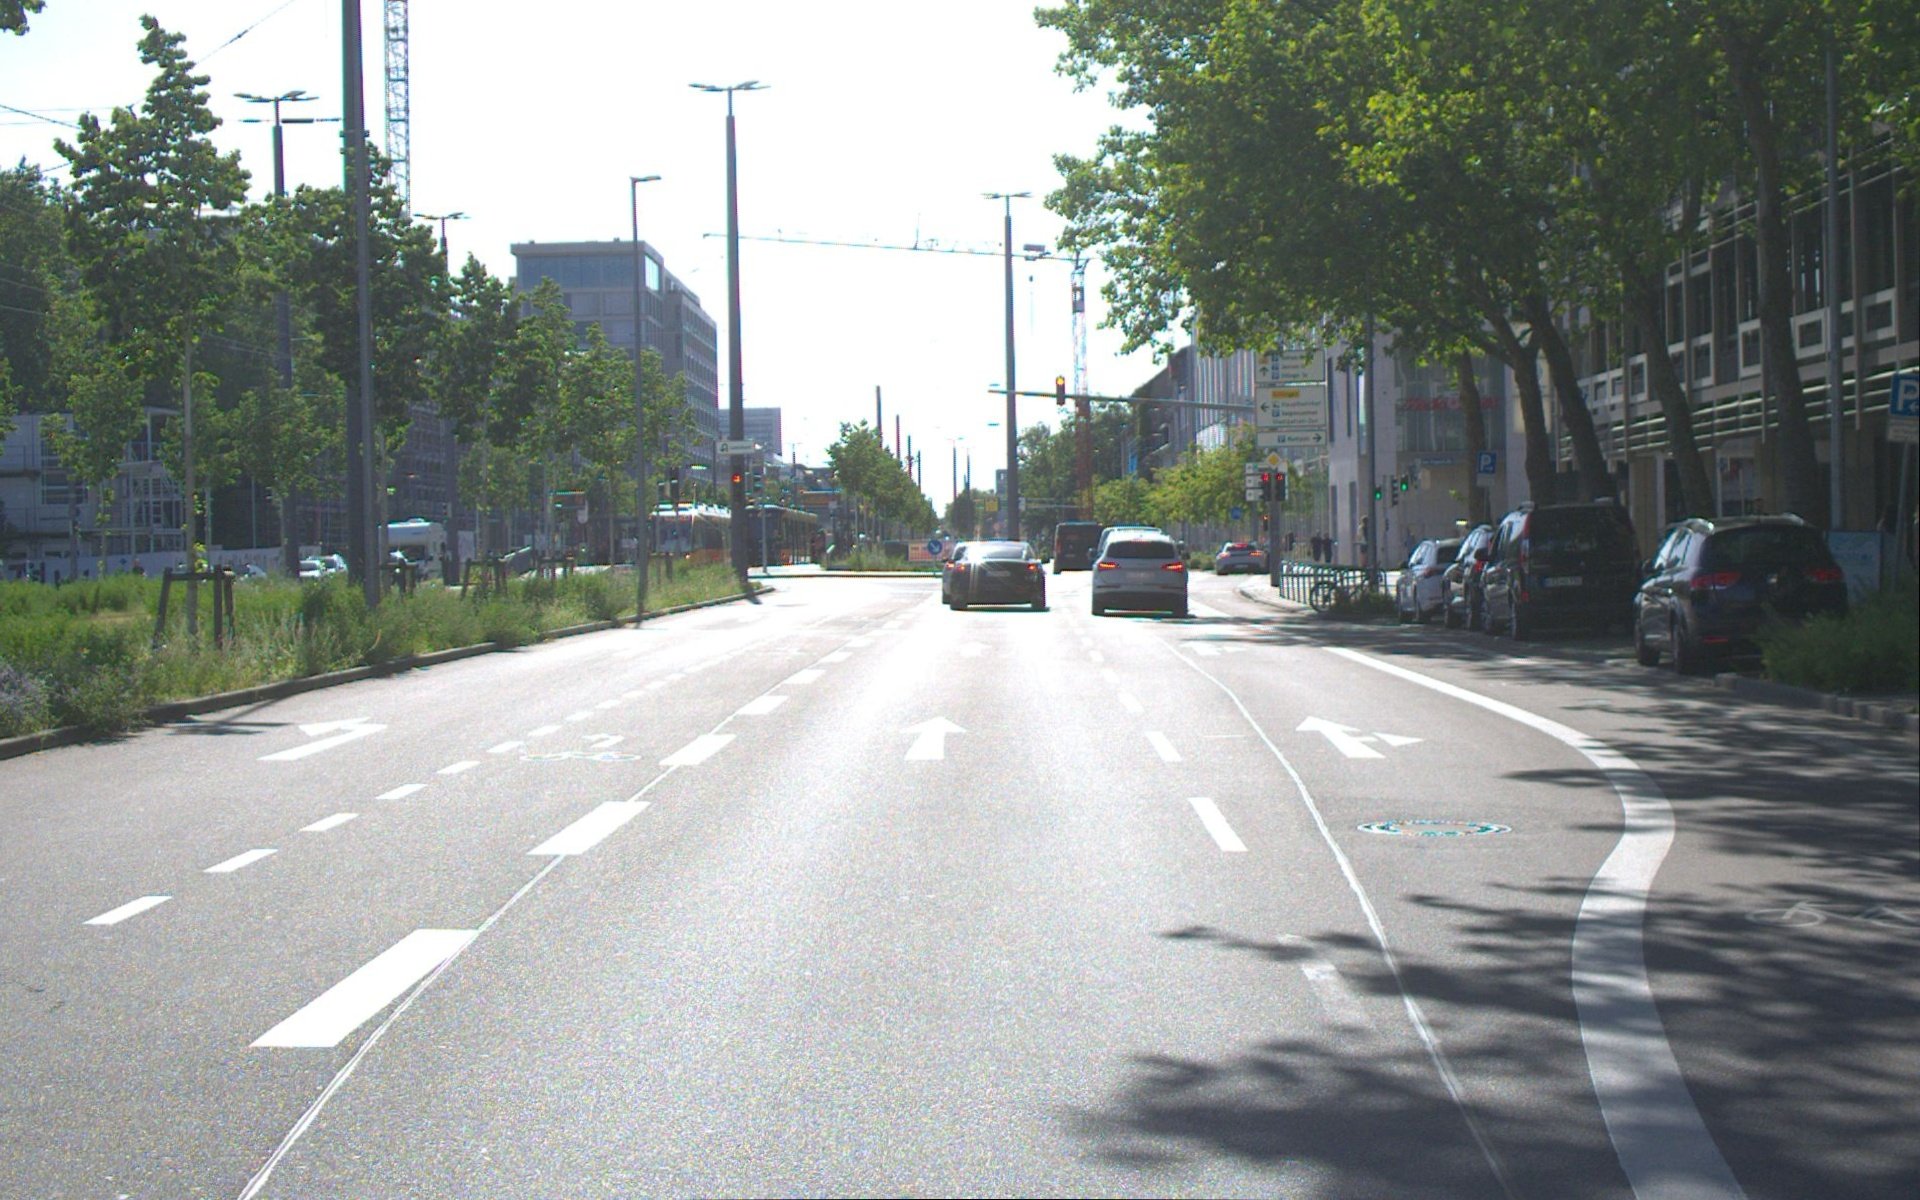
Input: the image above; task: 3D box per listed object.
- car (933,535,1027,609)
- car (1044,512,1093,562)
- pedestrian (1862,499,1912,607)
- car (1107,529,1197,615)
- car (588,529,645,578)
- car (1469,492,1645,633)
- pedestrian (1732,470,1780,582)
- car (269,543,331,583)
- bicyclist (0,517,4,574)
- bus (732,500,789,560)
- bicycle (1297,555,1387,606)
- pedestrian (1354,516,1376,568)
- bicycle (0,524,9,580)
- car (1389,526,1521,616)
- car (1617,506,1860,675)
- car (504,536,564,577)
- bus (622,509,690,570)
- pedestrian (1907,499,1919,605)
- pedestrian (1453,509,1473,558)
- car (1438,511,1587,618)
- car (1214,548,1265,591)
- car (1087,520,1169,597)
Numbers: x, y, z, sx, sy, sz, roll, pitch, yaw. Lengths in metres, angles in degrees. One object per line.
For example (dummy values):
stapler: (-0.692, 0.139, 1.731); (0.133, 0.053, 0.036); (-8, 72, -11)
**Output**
car: (0.418, -0.618, 72.587); (1.912, 1.481, 4.010); (-1, 1, 0)
car: (4.551, -2.615, 144.306); (1.993, 2.007, 4.000); (1, 0, 1)
pedestrian: (13.773, -0.700, 51.109); (0.505, 1.579, 0.635); (-1, 1, -7)
car: (3.782, -0.581, 68.053); (1.721, 1.612, 4.186); (-1, 1, 3)
car: (-13.214, -1.790, 132.469); (1.896, 1.809, 4.000); (1, 0, -2)
car: (8.206, -0.541, 47.577); (1.704, 1.784, 4.192); (-3, 1, 1)
pedestrian: (13.690, -1.267, 59.120); (0.676, 1.910, 0.557); (1, 0, 1)
car: (-27.891, -1.547, 145.382); (1.837, 1.607, 3.895); (1, 0, 1)
bicyclist: (-24.808, -1.404, 88.150); (0.394, 1.449, 0.539); (1, 1, 0)
bus: (-10.487, -3.657, 181.308); (2.627, 2.949, 9.899); (1, 0, -2)
bicycle: (7.595, -0.392, 68.380); (1.693, 0.954, 0.478); (-2, 1, -3)
pedestrian: (11.331, -1.628, 96.217); (0.562, 1.435, 0.631); (1, 0, 8)
bicycle: (-24.839, -1.226, 88.101); (0.360, 1.450, 1.914); (0, 1, 1)
car: (8.577, -0.537, 59.889); (1.704, 1.487, 4.600); (-1, 1, 1)
car: (8.050, -0.146, 35.925); (1.704, 1.637, 4.636); (-1, 1, 3)
car: (-12.865, -1.313, 103.995); (1.376, 1.174, 3.220); (1, 0, 0)
bus: (-14.554, -2.880, 165.009); (2.627, 2.773, 8.845); (1, 0, -2)
pedestrian: (14.334, -0.718, 51.127); (0.315, 1.579, 0.502); (-1, 1, -7)
pedestrian: (15.066, -1.987, 102.911); (0.562, 1.435, 0.631); (1, 0, 8)
car: (8.459, -0.555, 52.919); (1.704, 1.558, 4.192); (-1, 1, 1)
car: (11.221, -1.214, 138.226); (1.662, 1.643, 3.701); (1, 0, -1)
car: (4.021, -1.021, 82.718); (1.721, 1.776, 4.186); (-1, 1, 0)
